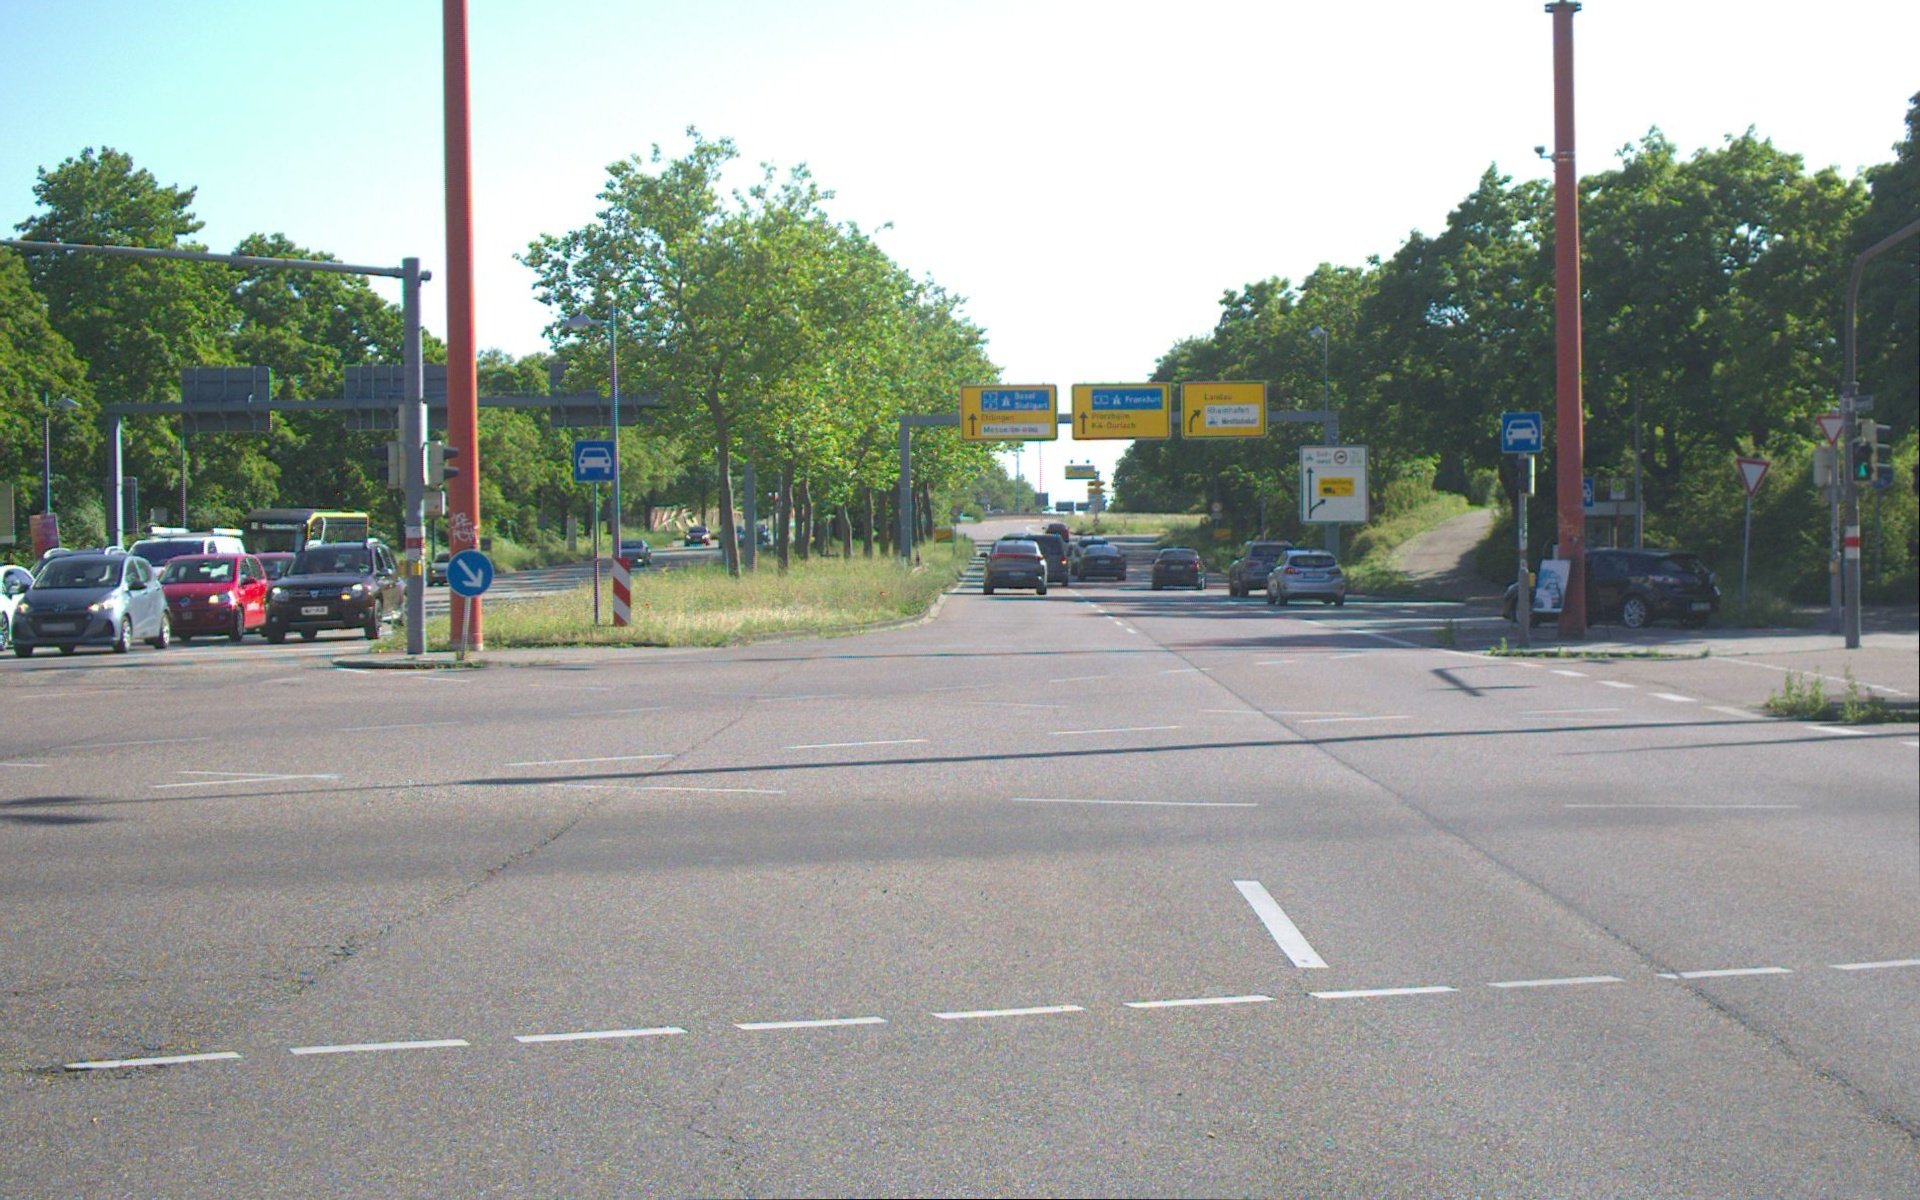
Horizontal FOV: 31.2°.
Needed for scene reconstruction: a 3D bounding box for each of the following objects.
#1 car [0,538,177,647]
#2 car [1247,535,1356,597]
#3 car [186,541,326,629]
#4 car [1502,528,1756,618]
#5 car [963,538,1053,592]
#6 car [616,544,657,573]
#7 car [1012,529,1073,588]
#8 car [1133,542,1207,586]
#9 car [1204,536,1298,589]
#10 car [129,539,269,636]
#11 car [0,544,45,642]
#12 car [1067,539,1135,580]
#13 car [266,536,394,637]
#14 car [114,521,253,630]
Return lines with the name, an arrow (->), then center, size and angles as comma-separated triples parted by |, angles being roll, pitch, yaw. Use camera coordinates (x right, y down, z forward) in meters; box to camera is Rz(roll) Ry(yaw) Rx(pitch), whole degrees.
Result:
car -> -13.250, -0.137, 52.172 | 1.993, 1.568, 4.121 | -1, 1, -3
car -> 8.949, -0.918, 90.400 | 2.158, 1.568, 4.281 | -1, 1, -4
car -> -13.113, -0.302, 64.253 | 1.993, 1.568, 4.121 | -1, 1, -4
car -> 12.190, -0.510, 62.830 | 2.159, 1.568, 4.280 | -1, 1, -34
car -> 1.401, -1.056, 102.293 | 2.245, 1.568, 4.282 | -1, 1, -5
car -> -17.515, -2.252, 186.307 | 1.993, 1.568, 4.121 | -1, 1, -3
car -> 2.864, -1.470, 120.556 | 1.993, 2.007, 4.000 | 0, 1, -1
car -> 7.081, -1.237, 116.245 | 1.953, 1.437, 4.281 | -1, 1, -4
car -> 8.741, -1.140, 103.498 | 2.158, 1.568, 4.281 | -1, 1, -4
car -> -12.896, -0.241, 58.474 | 1.993, 1.568, 4.122 | -1, 1, -8
car -> -16.485, -0.123, 57.042 | 1.993, 1.568, 4.122 | -2, 1, -8
car -> 5.493, -1.588, 134.262 | 2.158, 1.568, 4.281 | -1, 1, -4
car -> -10.244, -0.250, 56.153 | 1.876, 1.568, 4.122 | -1, 1, -8
car -> -16.111, -0.535, 71.514 | 2.062, 2.185, 4.379 | -1, 1, -2
